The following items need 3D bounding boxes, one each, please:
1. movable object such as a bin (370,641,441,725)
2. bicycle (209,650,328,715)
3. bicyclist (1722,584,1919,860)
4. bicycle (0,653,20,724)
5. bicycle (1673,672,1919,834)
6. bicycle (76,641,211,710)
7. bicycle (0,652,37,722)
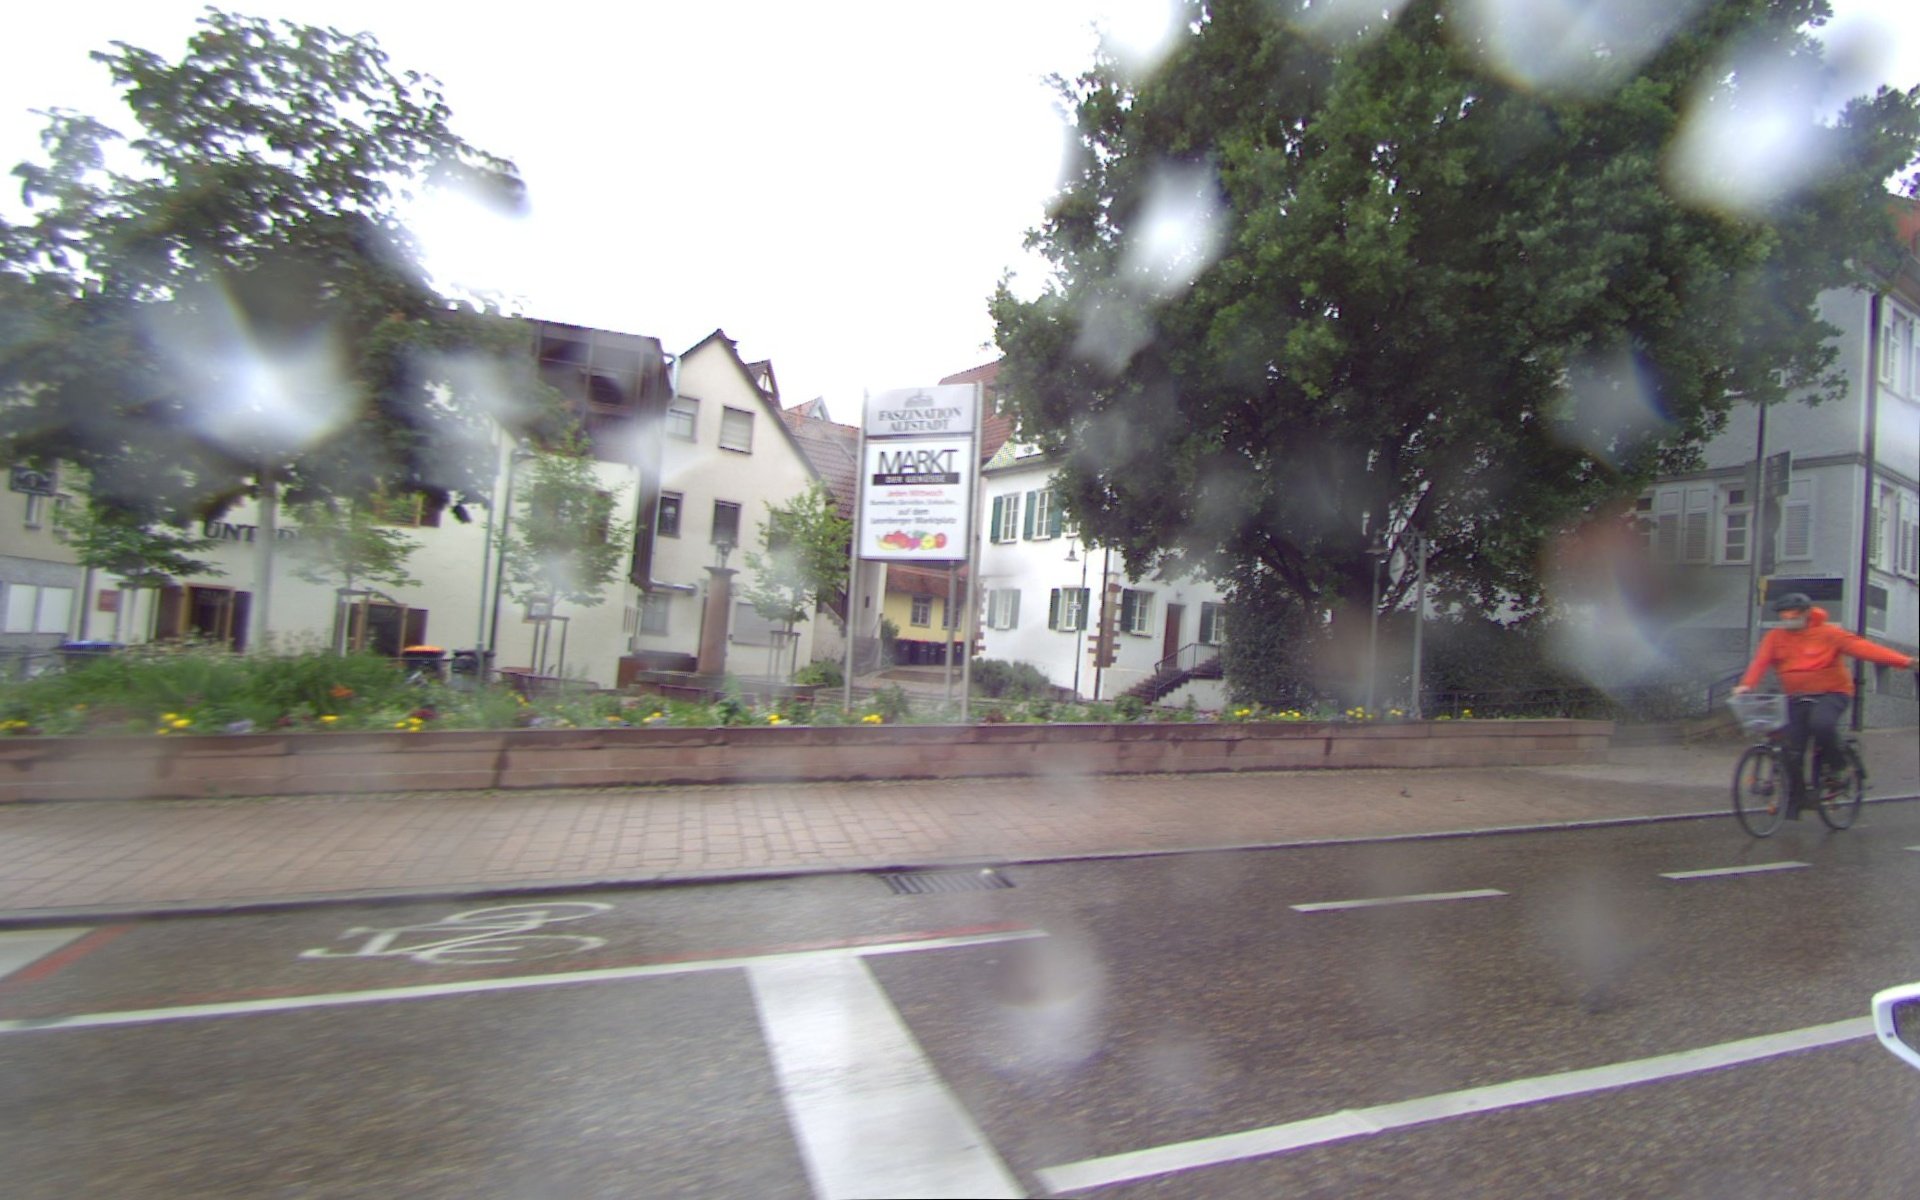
[{"bbox_3d":[-9.244,1.377,16.769,0.672,1.293,0.748,6,-1,-5],"label":"movable object such as a bin"},{"bbox_3d":[-10.846,1.300,15.803,1.454,0.924,0.389,5,1,-32],"label":"bicycle"},{"bbox_3d":[7.064,0.921,8.133,0.867,2.040,1.134,2,-1,-23],"label":"bicyclist"},{"bbox_3d":[-13.535,1.177,13.364,1.460,0.924,0.387,5,1,-44],"label":"bicycle"},{"bbox_3d":[6.939,1.229,8.294,2.127,1.178,0.745,3,-3,-24],"label":"bicycle"},{"bbox_3d":[-12.071,1.131,14.899,1.454,0.924,0.389,5,1,-32],"label":"bicycle"},{"bbox_3d":[-13.701,1.191,13.787,1.460,0.924,0.387,5,1,-44],"label":"bicycle"}]
